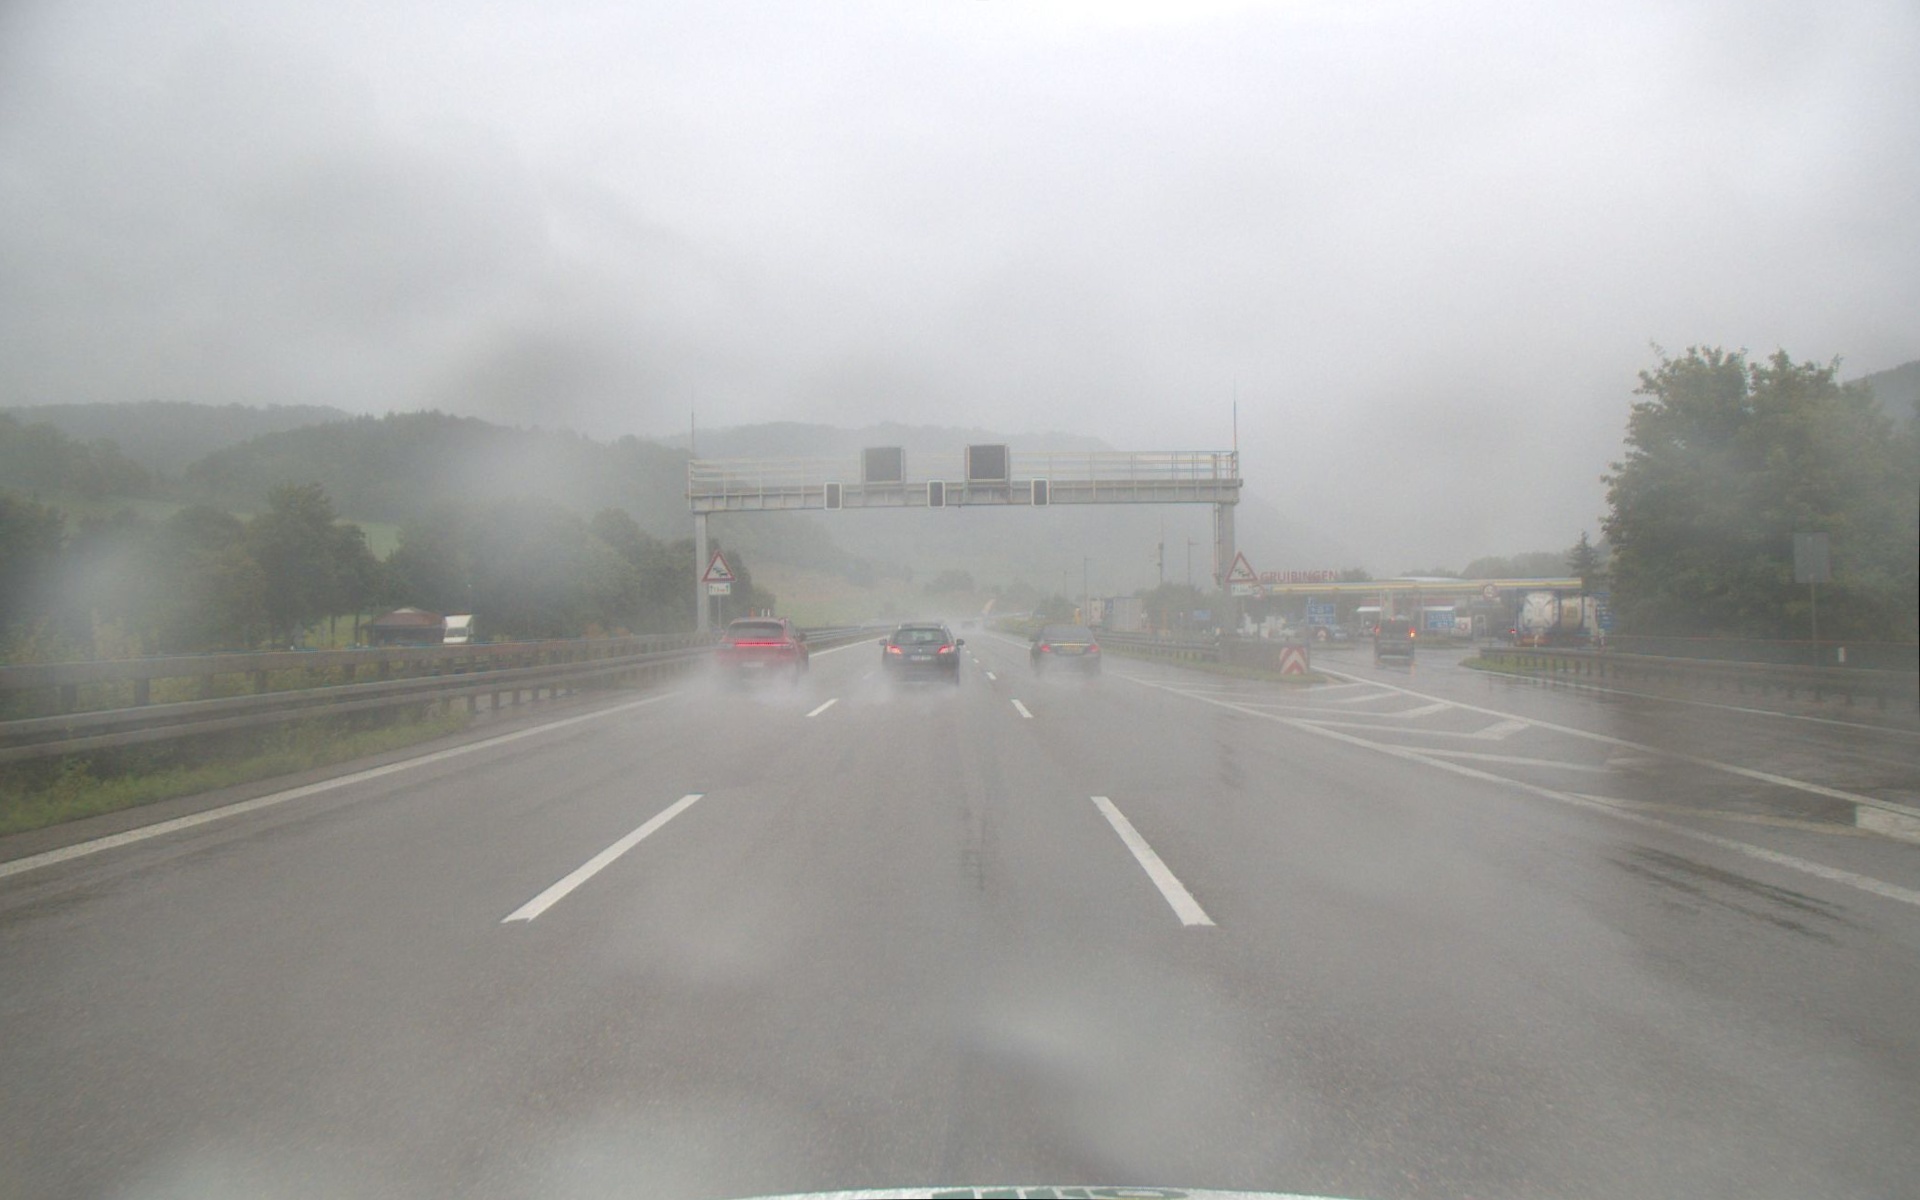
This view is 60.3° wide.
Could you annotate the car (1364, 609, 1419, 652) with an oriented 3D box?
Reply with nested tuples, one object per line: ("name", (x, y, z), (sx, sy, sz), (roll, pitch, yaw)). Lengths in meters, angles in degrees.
("car", (20.805, 1.450, 79.943), (1.951, 2.049, 5.058), (0, -1, 7))

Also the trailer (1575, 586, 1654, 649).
("trailer", (43.280, 1.203, 109.148), (2.734, 3.969, 11.718), (0, -1, 32))

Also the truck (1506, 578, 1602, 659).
("truck", (33.964, 1.108, 94.235), (2.818, 4.331, 11.842), (0, -1, 31))

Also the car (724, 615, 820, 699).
("car", (-4.345, 1.280, 38.752), (1.846, 1.848, 3.999), (0, -1, -1))

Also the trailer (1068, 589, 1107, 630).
("trailer", (13.859, 1.099, 180.243), (3.444, 4.336, 11.919), (1, -1, 1))

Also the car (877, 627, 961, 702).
("car", (-0.887, 1.447, 38.103), (1.821, 1.617, 3.999), (1, -1, 0))

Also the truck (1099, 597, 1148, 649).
("truck", (14.761, 2.029, 150.247), (3.331, 4.479, 11.047), (1, -1, 0))

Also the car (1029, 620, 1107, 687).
("car", (3.004, 1.482, 46.768), (1.931, 1.791, 4.000), (0, -1, 0))

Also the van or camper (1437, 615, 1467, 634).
("van or camper", (53.236, 2.637, 179.055), (1.953, 2.049, 3.999), (1, -1, -1))
